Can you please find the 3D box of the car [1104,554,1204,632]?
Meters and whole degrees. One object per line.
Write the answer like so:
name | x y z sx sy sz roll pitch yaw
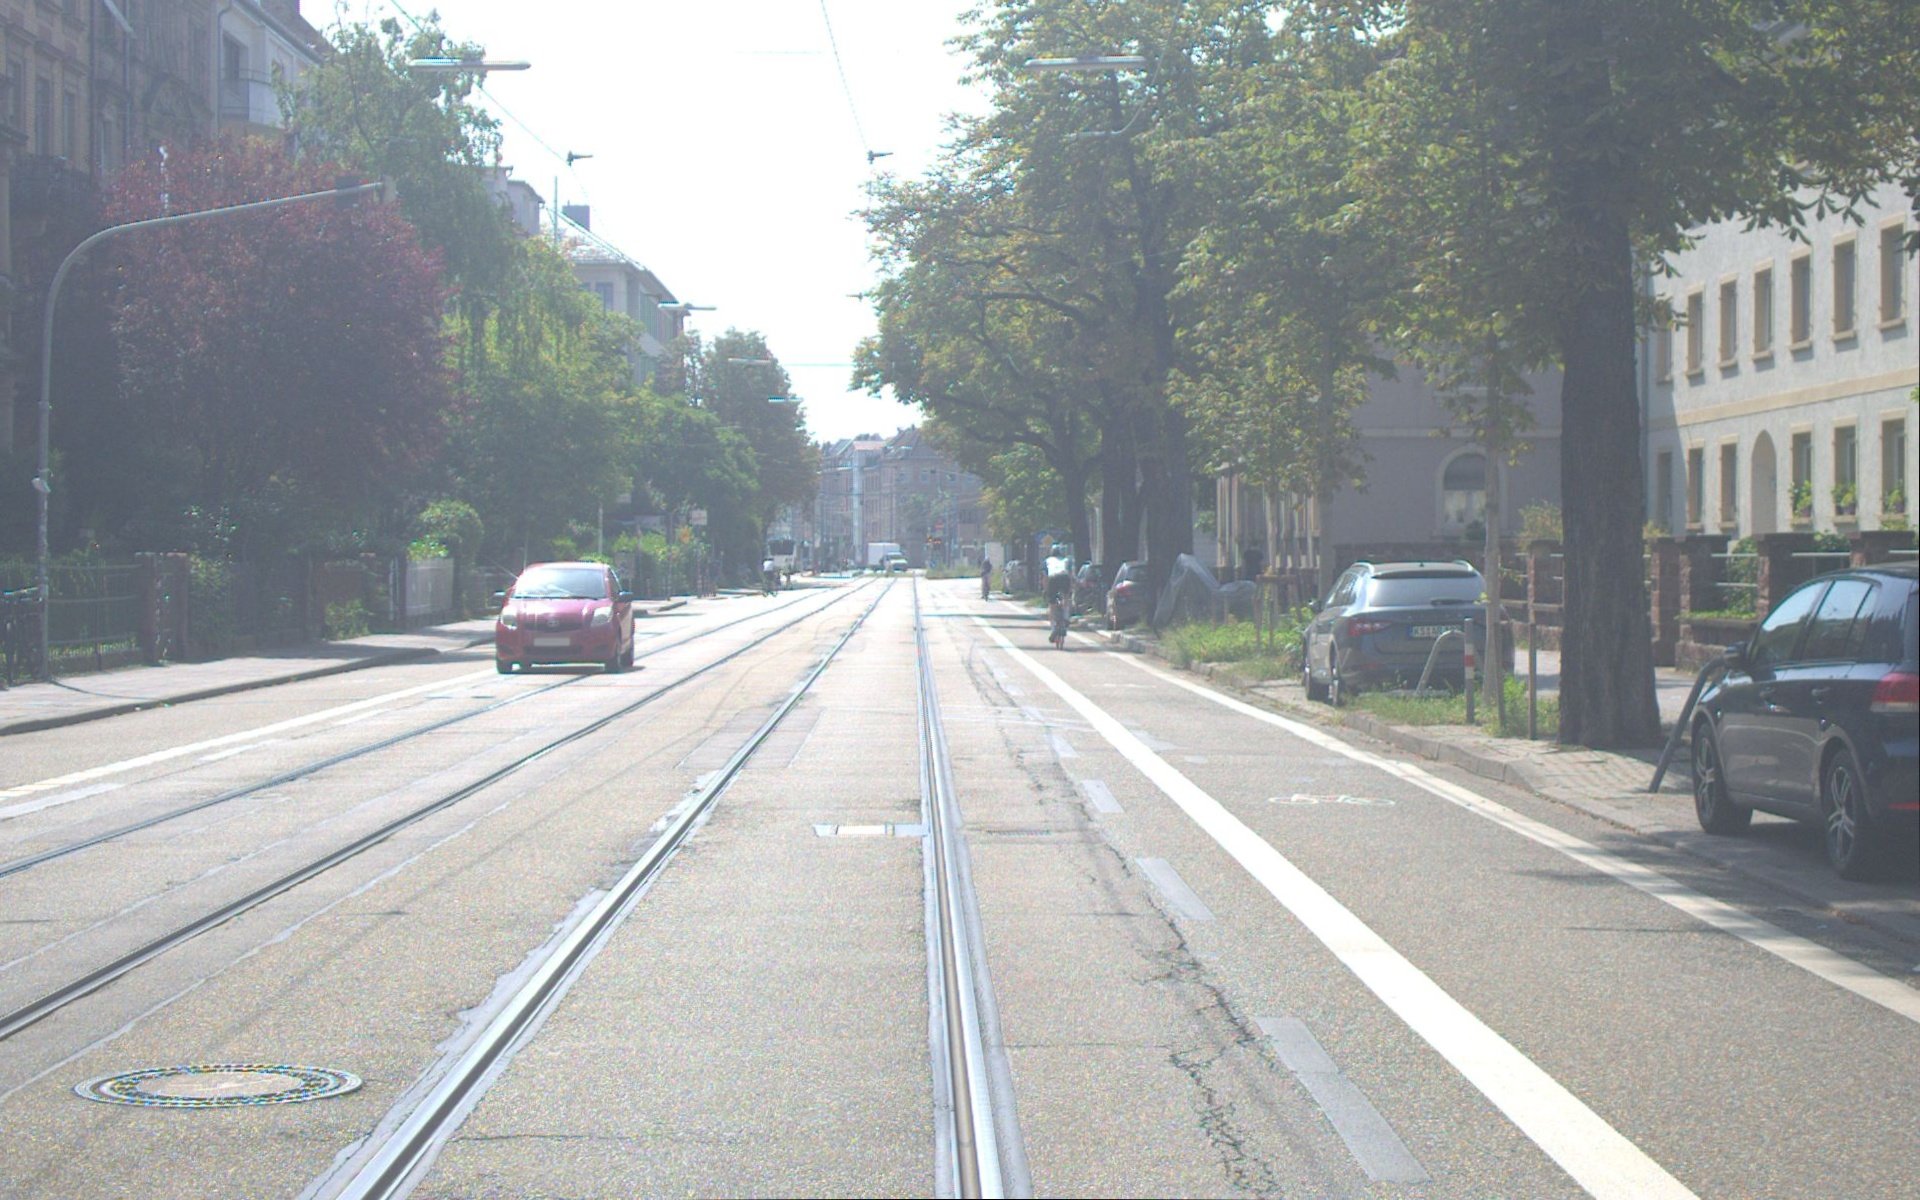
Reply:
car | 4.156 -0.165 74.303 1.840 1.527 4.115 0 2 -1

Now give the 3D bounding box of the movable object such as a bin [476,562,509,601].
movable object such as a bin | -13.055 -0.518 96.002 0.786 1.072 0.803 1 0 2

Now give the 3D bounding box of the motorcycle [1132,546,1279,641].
motorcycle | 4.186 -0.102 58.687 2.344 1.535 0.966 -2 -2 41

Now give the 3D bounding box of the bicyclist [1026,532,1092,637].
bicyclist | 1.722 -0.267 60.128 1.125 1.830 0.956 0 0 0

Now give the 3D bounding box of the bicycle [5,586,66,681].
bicycle | -11.103 0.391 41.316 0.390 1.095 1.569 0 1 -3

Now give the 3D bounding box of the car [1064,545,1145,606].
car | 3.838 -0.662 91.755 1.840 1.527 4.780 -1 1 -1

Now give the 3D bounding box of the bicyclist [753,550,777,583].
bicyclist | -8.196 -1.404 144.162 0.759 1.387 0.778 0 0 20

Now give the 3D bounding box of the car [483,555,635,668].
car | -5.581 0.128 48.240 1.732 1.485 4.000 -1 1 -1

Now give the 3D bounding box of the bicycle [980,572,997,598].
bicycle | 1.082 -0.552 128.236 0.588 0.936 2.171 0 0 2

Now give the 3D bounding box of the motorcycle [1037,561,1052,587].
motorcycle | 3.528 -1.082 143.888 0.549 1.064 2.330 0 0 -1

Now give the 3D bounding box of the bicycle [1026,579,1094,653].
bicycle | 1.737 0.266 60.247 1.148 1.265 2.712 0 1 1

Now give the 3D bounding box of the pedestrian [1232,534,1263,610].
pedestrian | 7.143 -0.702 85.430 0.706 1.885 0.714 0 0 1

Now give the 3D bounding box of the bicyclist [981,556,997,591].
bicyclist | 1.079 -0.988 128.168 0.579 1.274 0.471 0 0 2

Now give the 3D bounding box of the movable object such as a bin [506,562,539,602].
movable object such as a bin | -12.235 -0.503 96.134 0.786 1.072 0.803 1 0 2

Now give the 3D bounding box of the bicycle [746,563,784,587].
bicycle | -8.176 -1.043 144.217 0.759 0.987 2.296 0 0 19

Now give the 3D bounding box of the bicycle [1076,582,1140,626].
bicycle | 3.775 0.094 87.645 1.606 1.100 0.398 0 0 6

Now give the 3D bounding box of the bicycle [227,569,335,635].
bicycle | -12.557 0.029 63.606 1.812 1.178 0.716 1 0 2

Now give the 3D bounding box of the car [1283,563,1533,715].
car | 4.581 0.354 35.829 1.892 1.472 4.840 0 1 -1

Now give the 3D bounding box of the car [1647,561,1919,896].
car | 4.859 0.546 17.459 1.755 1.472 4.387 0 1 -1
